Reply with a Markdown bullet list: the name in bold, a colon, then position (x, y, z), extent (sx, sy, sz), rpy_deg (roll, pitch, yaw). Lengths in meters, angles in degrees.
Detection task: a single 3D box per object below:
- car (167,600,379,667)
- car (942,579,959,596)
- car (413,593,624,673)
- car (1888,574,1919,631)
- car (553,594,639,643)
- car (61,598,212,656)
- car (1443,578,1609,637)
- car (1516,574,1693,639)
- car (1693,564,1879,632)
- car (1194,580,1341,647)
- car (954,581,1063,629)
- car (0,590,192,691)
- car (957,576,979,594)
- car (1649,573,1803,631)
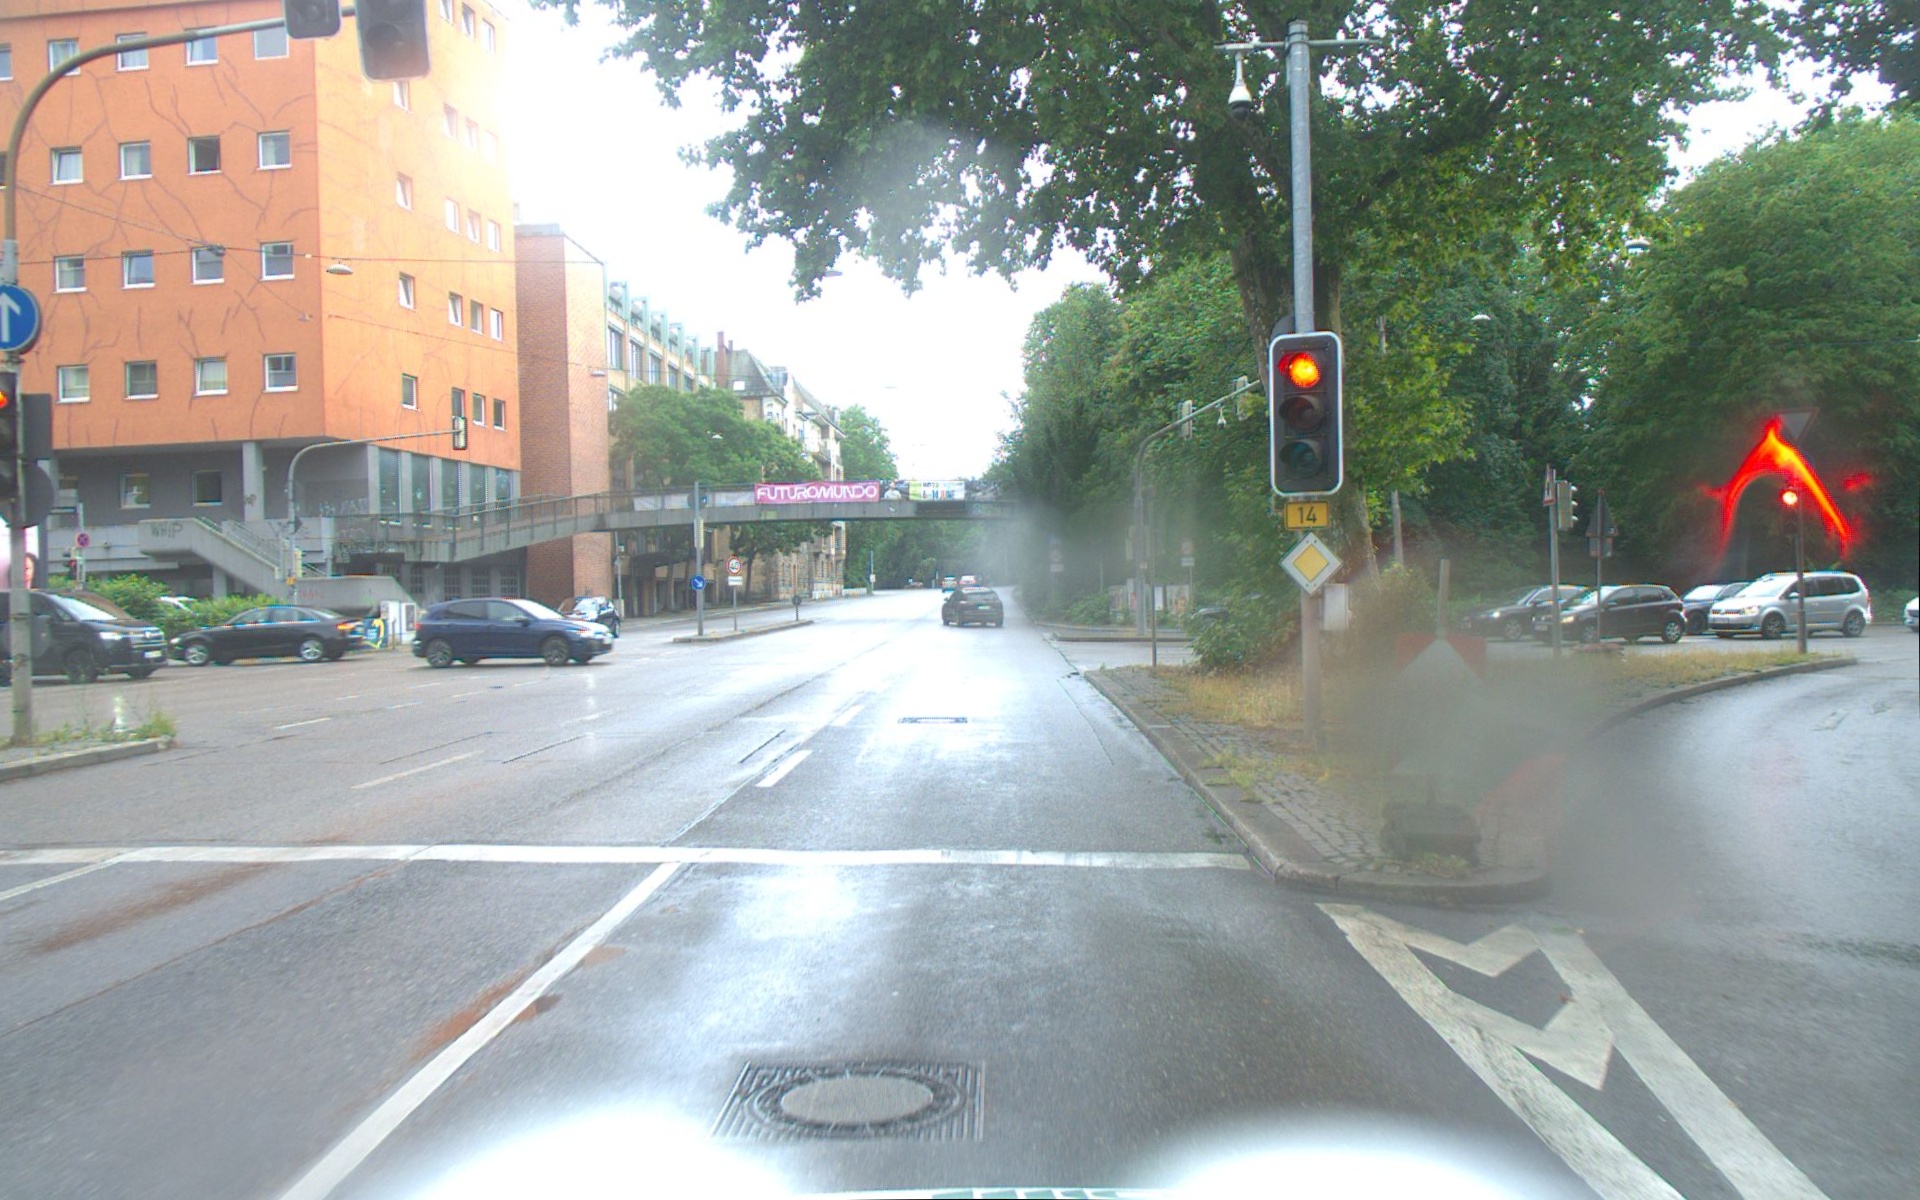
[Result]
- **car**: position (-17.033, 0.812, 41.202), extent (4.516, 1.477, 1.771), rpy_deg (-2, 0, -7)
- **car**: position (-1.072, -1.389, 184.780), extent (1.727, 1.726, 3.705), rpy_deg (-3, 0, 0)
- **car**: position (-9.486, 0.704, 35.631), extent (4.047, 1.471, 1.587), rpy_deg (-3, 0, 10)
- **car**: position (27.403, -0.015, 44.853), extent (3.929, 1.512, 1.764), rpy_deg (-3, 0, -20)
- **car**: position (-12.150, 0.598, 55.422), extent (1.952, 1.545, 4.000), rpy_deg (-1, 0, 0)
- **car**: position (-26.569, 0.860, 53.412), extent (3.929, 1.646, 1.896), rpy_deg (-3, 0, 9)
- **car**: position (15.163, 0.186, 44.351), extent (3.928, 1.512, 1.868), rpy_deg (-1, 0, -20)
- **car**: position (15.761, 0.152, 40.505), extent (3.790, 1.511, 1.666), rpy_deg (-1, -1, -15)
- **car**: position (21.275, -0.058, 42.632), extent (4.192, 1.512, 1.766), rpy_deg (-3, 0, -17)
- **car**: position (9.759, 0.419, 52.408), extent (4.247, 1.868, 2.137), rpy_deg (-3, 0, 18)
- **car**: position (1.723, 0.165, 60.494), extent (1.856, 1.666, 4.476), rpy_deg (-1, 1, -31)
- **car**: position (-18.492, 0.837, 33.547), extent (4.967, 1.878, 2.002), rpy_deg (-2, 0, 9)
- **car**: position (0.818, -1.530, 166.762), extent (2.078, 1.765, 4.197), rpy_deg (0, 1, -2)
- **car**: position (21.239, 0.045, 45.897), extent (3.766, 1.512, 1.735), rpy_deg (-1, 0, -20)
